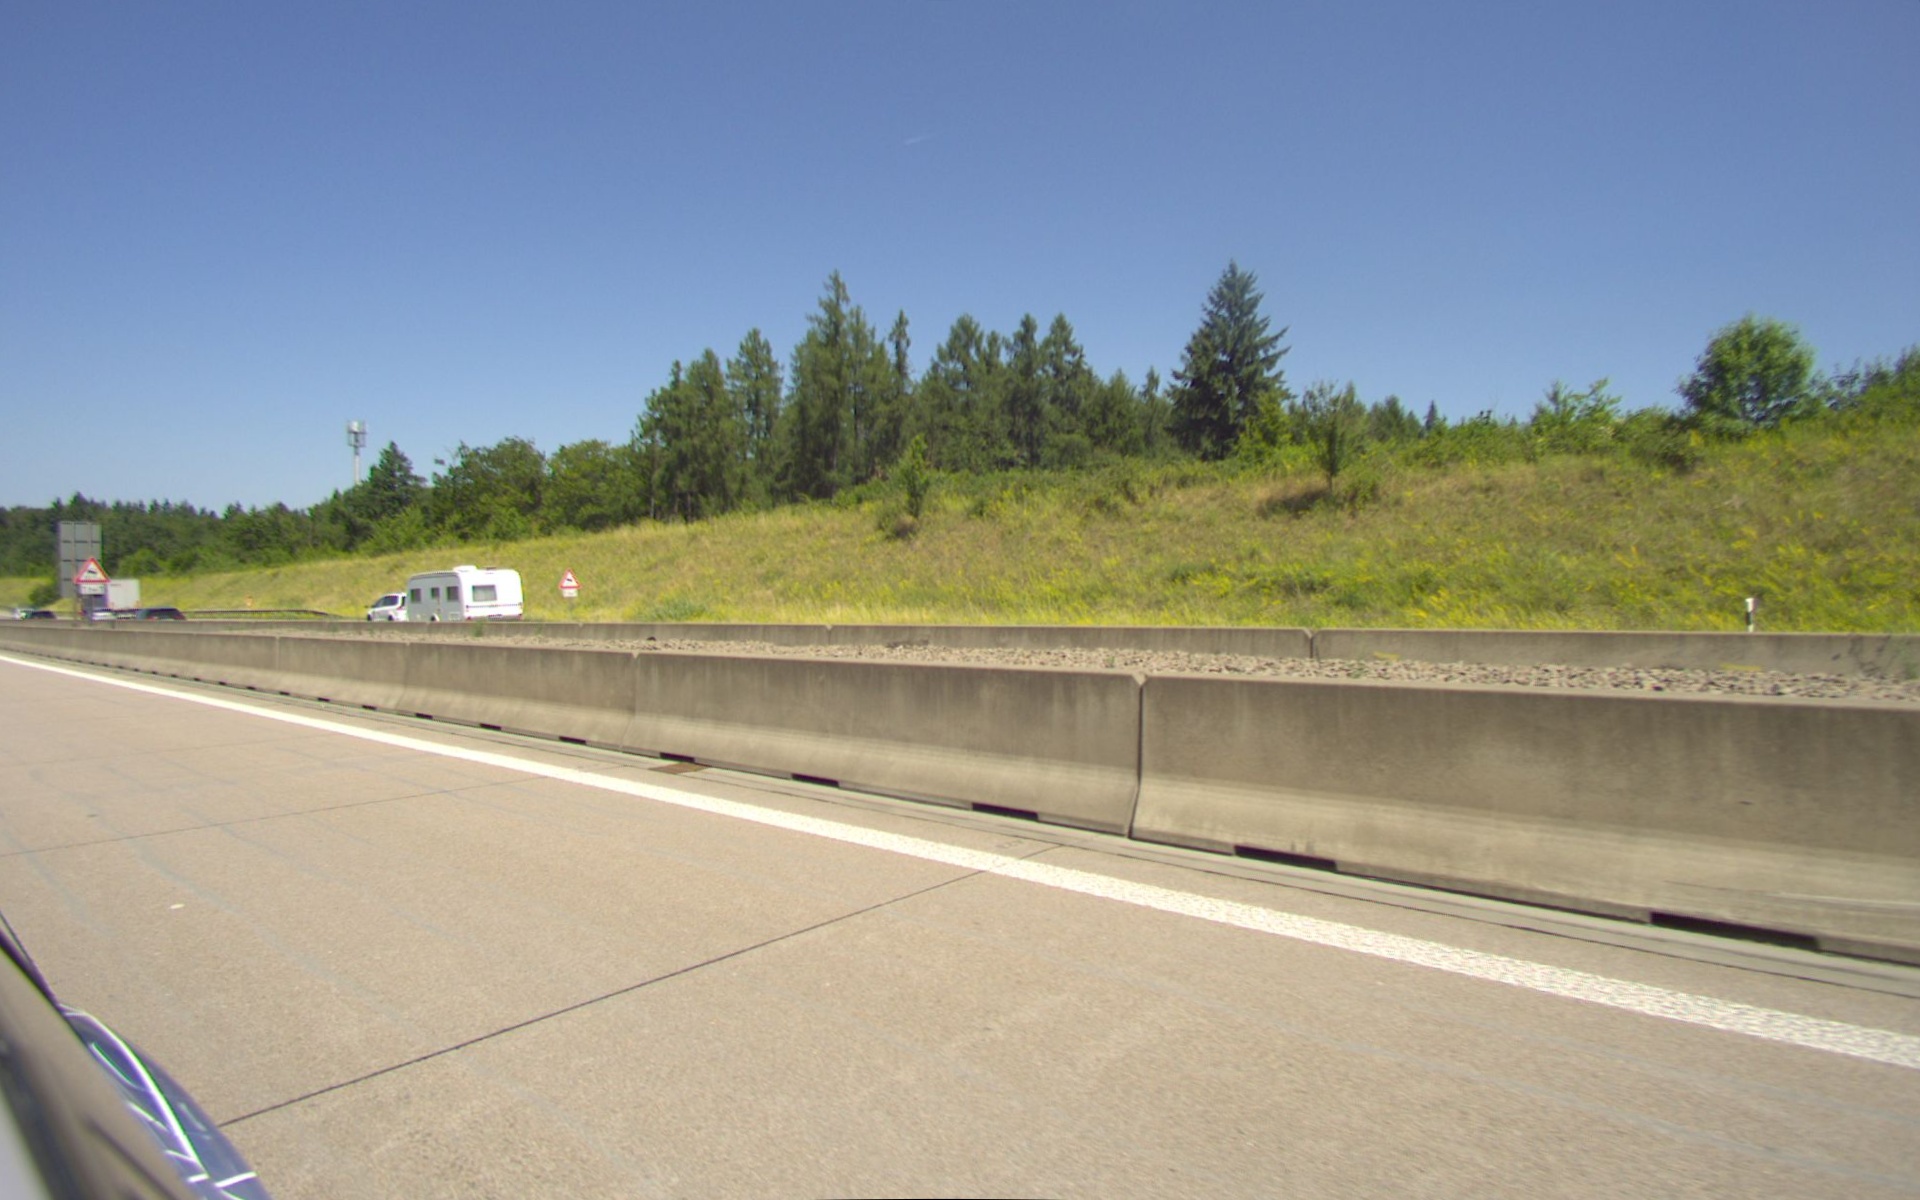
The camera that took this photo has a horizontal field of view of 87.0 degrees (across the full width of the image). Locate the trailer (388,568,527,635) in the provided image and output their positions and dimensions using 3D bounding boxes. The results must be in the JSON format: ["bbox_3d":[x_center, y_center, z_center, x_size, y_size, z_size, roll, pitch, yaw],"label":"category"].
[{"bbox_3d":[-21.906,0.095,43.895,7.777,2.651,2.579,-1,1,41],"label":"trailer"}]

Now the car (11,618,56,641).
[{"bbox_3d":[-69.518,2.170,75.921,4.496,1.570,1.973,-1,1,41],"label":"car"}]

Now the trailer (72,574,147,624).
[{"bbox_3d":[-82.637,-0.073,98.195,13.917,4.464,3.352,0,2,41],"label":"trailer"}]

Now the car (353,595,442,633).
[{"bbox_3d":[-26.855,0.670,48.245,5.371,1.672,1.973,-1,1,41],"label":"car"}]

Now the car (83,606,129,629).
[{"bbox_3d":[-64.877,1.325,76.883,4.496,1.570,1.973,-1,1,41],"label":"car"}]

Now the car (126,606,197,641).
[{"bbox_3d":[-38.499,1.131,48.794,3.998,1.530,1.973,-1,1,41],"label":"car"}]
